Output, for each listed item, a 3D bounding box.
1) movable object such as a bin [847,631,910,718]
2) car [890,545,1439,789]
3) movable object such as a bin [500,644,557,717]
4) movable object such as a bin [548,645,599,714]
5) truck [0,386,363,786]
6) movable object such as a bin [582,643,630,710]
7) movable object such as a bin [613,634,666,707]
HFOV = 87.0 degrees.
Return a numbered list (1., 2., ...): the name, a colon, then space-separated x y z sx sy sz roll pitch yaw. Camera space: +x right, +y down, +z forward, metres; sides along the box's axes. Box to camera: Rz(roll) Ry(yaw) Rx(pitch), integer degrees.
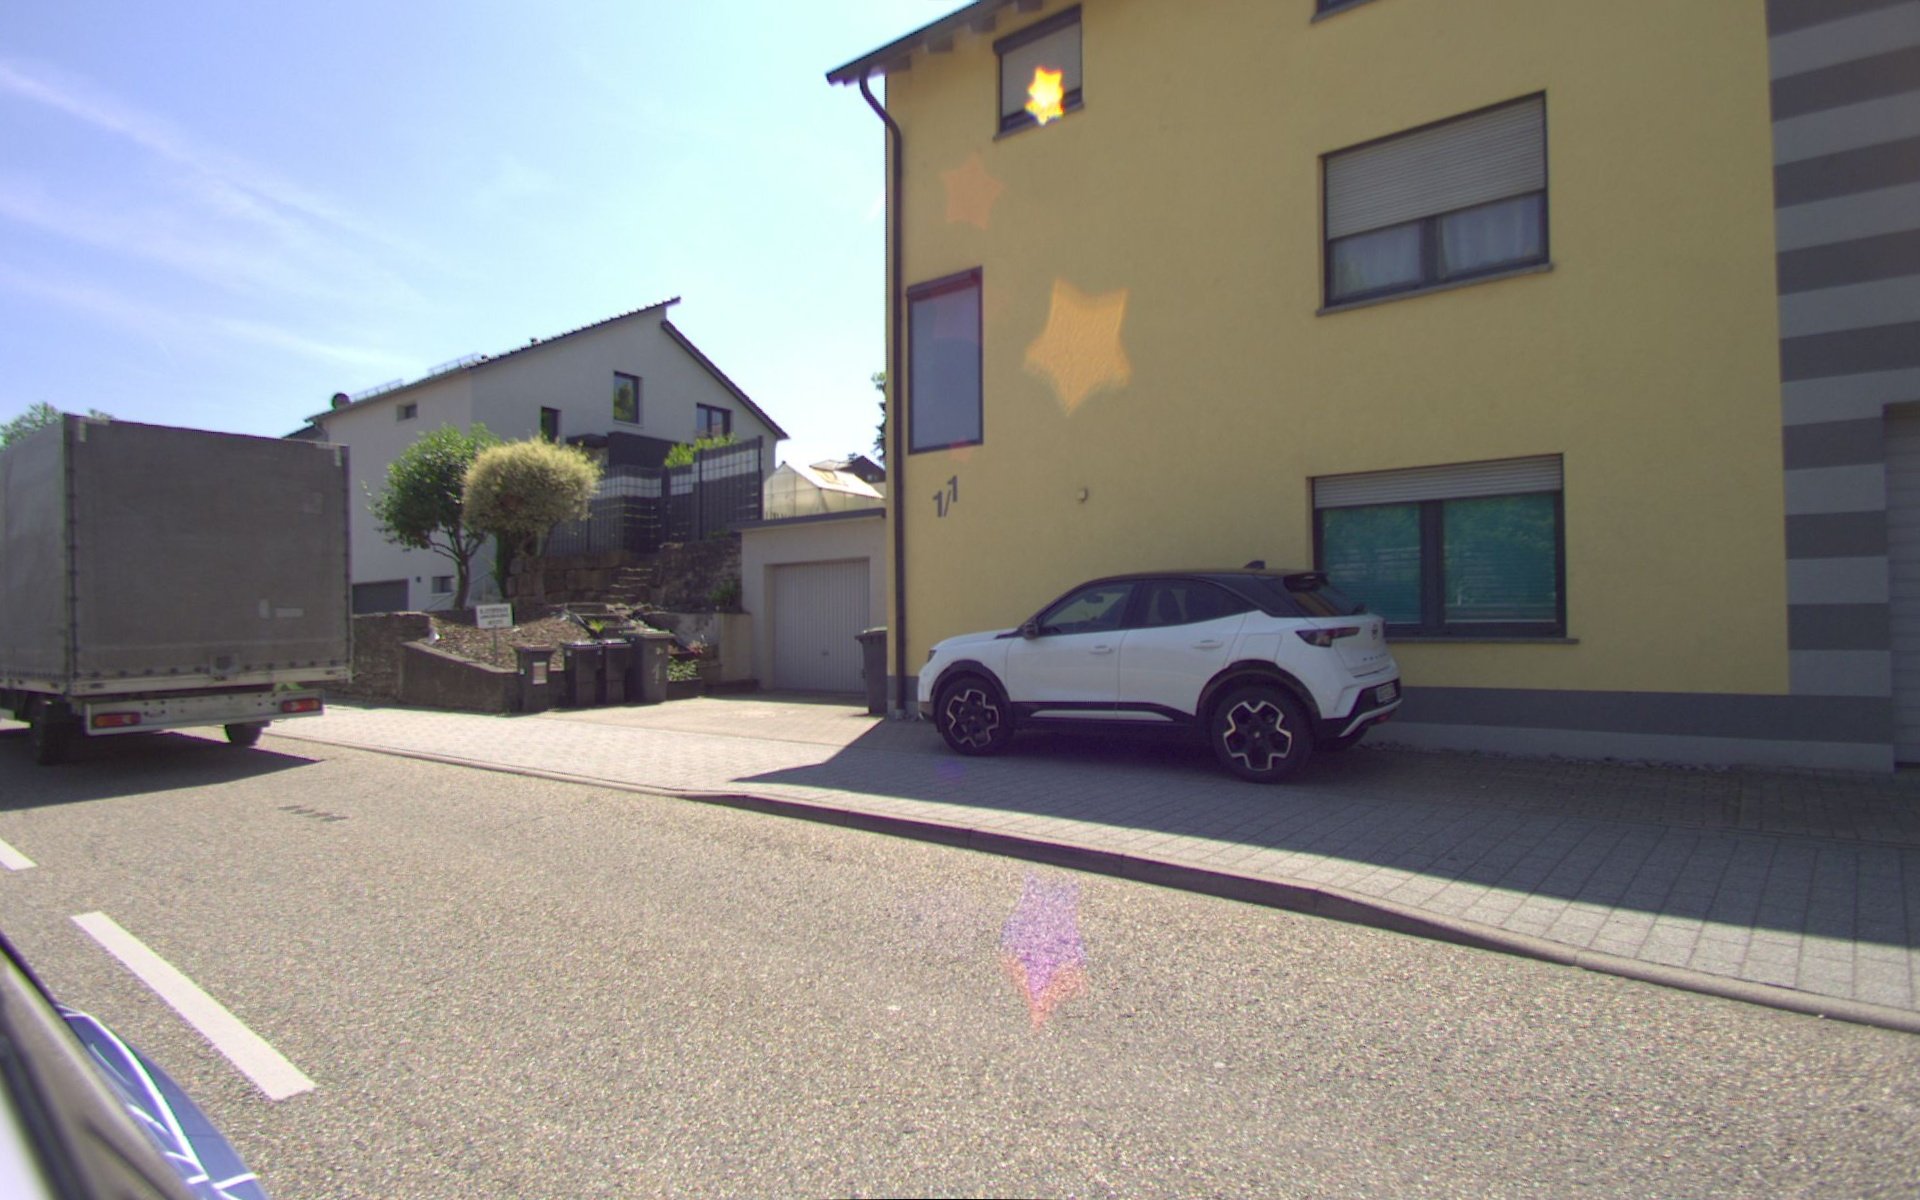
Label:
1. movable object such as a bin: -1.016 0.916 12.689 0.606 1.051 0.496 -1 -1 36
2. car: 1.545 0.481 8.476 4.182 1.564 1.714 -2 -2 38
3. movable object such as a bin: -5.873 1.082 13.779 0.553 0.955 0.496 -1 -1 36
4. movable object such as a bin: -5.475 1.108 14.326 0.561 0.935 0.443 -1 -1 36
5. truck: -10.007 -0.073 11.888 7.605 3.392 2.443 -2 0 38
6. movable object such as a bin: -5.167 1.103 14.758 0.530 0.945 0.443 -1 -2 36
7. movable object such as a bin: -4.788 1.040 15.139 0.633 1.063 0.466 -1 -1 36
